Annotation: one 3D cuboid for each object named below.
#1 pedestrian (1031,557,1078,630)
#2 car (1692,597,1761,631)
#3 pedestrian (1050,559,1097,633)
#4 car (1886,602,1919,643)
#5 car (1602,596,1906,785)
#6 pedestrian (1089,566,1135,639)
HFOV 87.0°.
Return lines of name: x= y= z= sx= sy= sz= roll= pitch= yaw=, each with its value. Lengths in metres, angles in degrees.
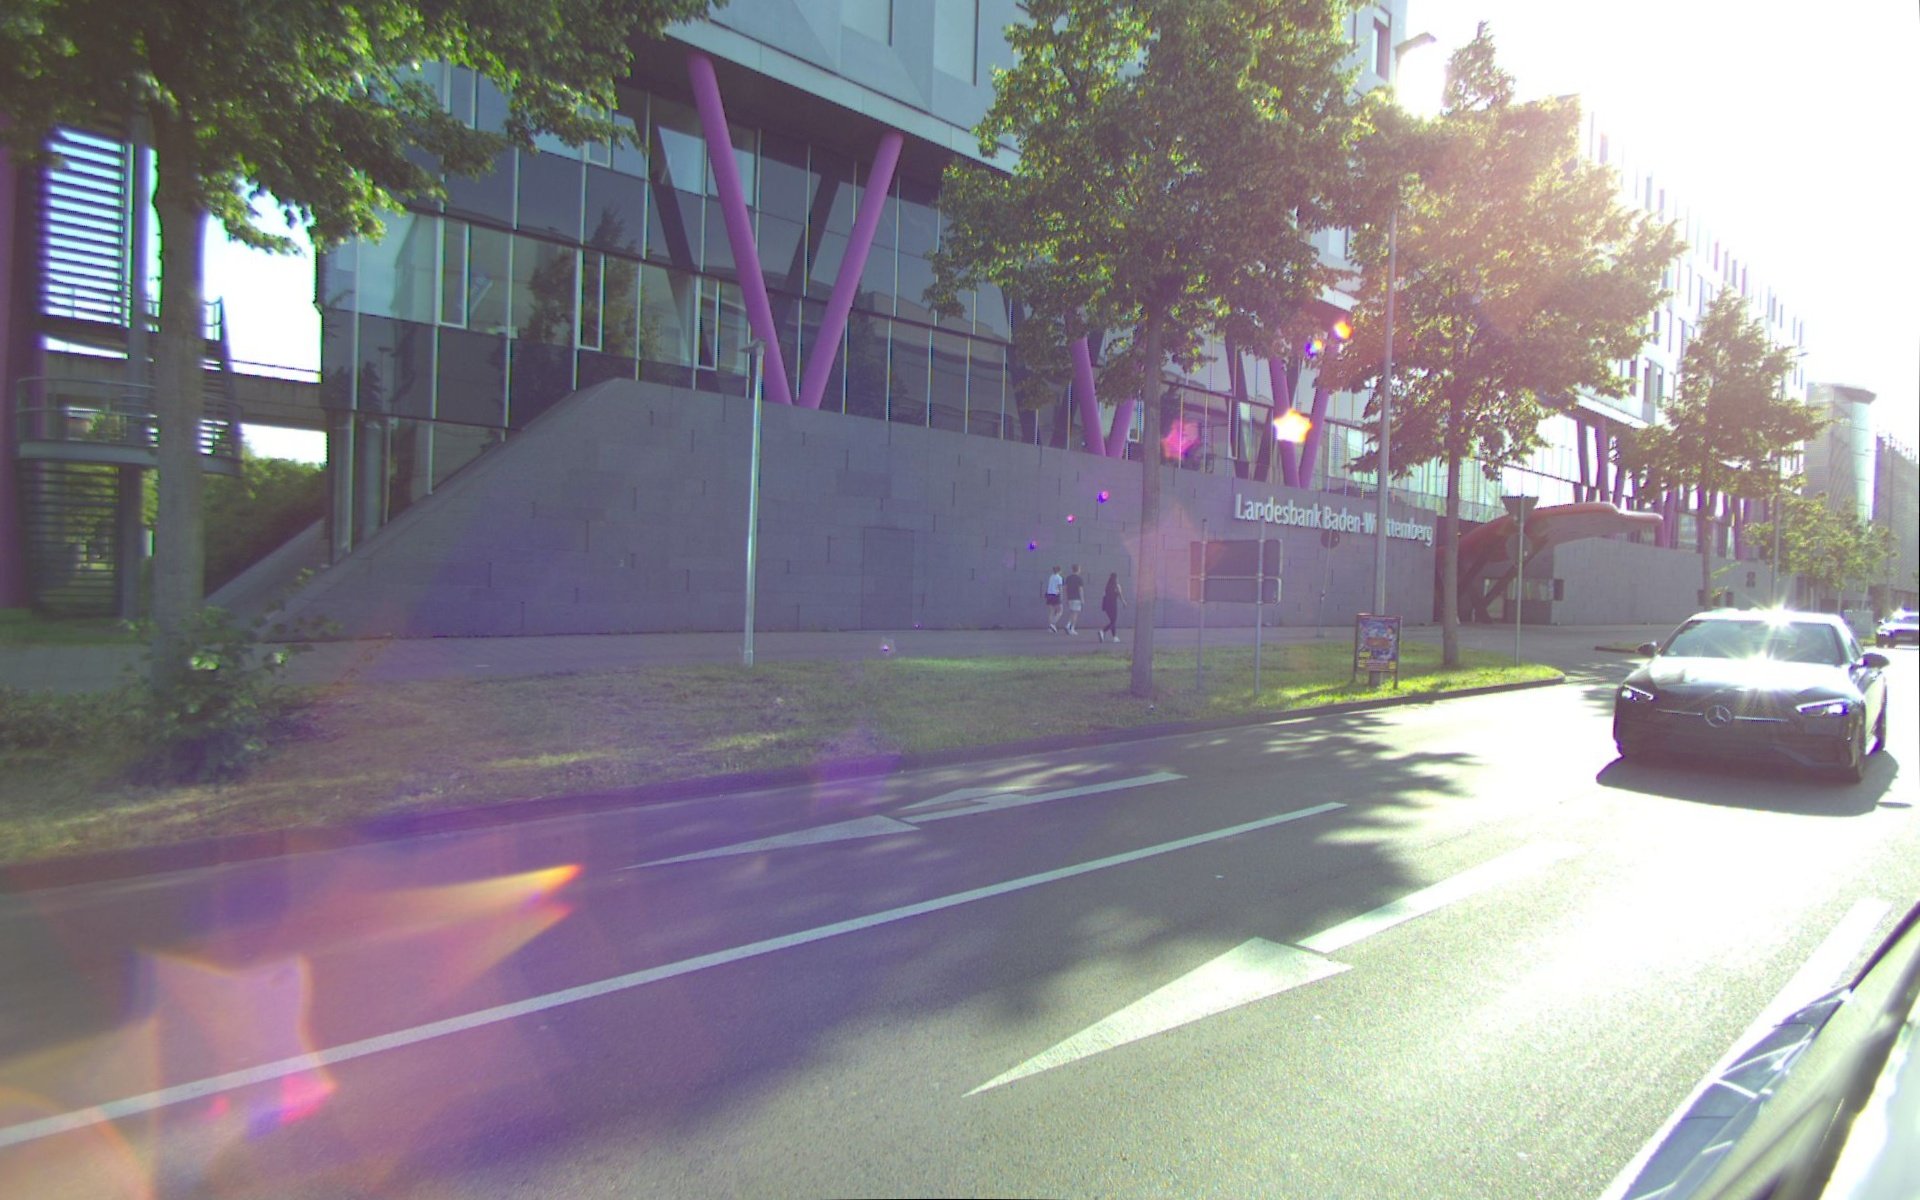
pedestrian: x=2.459 y=-0.174 z=26.338 sx=0.838 sy=1.847 sz=0.769 roll=1 pitch=3 yaw=-41
car: x=34.503 y=0.647 z=45.529 sx=4.126 sy=1.407 sz=1.694 roll=1 pitch=1 yaw=-42
pedestrian: x=2.891 y=-0.116 z=25.795 sx=0.829 sy=1.815 sz=0.756 roll=1 pitch=3 yaw=-41
car: x=38.782 y=0.900 z=40.782 sx=4.400 sy=1.444 sz=1.891 roll=-2 pitch=2 yaw=-44
car: x=8.176 y=0.746 z=10.247 sx=4.480 sy=1.468 sz=1.840 roll=1 pitch=0 yaw=-44
pedestrian: x=3.563 y=0.049 z=23.733 sx=0.724 sy=1.659 sz=0.695 roll=1 pitch=2 yaw=-41
